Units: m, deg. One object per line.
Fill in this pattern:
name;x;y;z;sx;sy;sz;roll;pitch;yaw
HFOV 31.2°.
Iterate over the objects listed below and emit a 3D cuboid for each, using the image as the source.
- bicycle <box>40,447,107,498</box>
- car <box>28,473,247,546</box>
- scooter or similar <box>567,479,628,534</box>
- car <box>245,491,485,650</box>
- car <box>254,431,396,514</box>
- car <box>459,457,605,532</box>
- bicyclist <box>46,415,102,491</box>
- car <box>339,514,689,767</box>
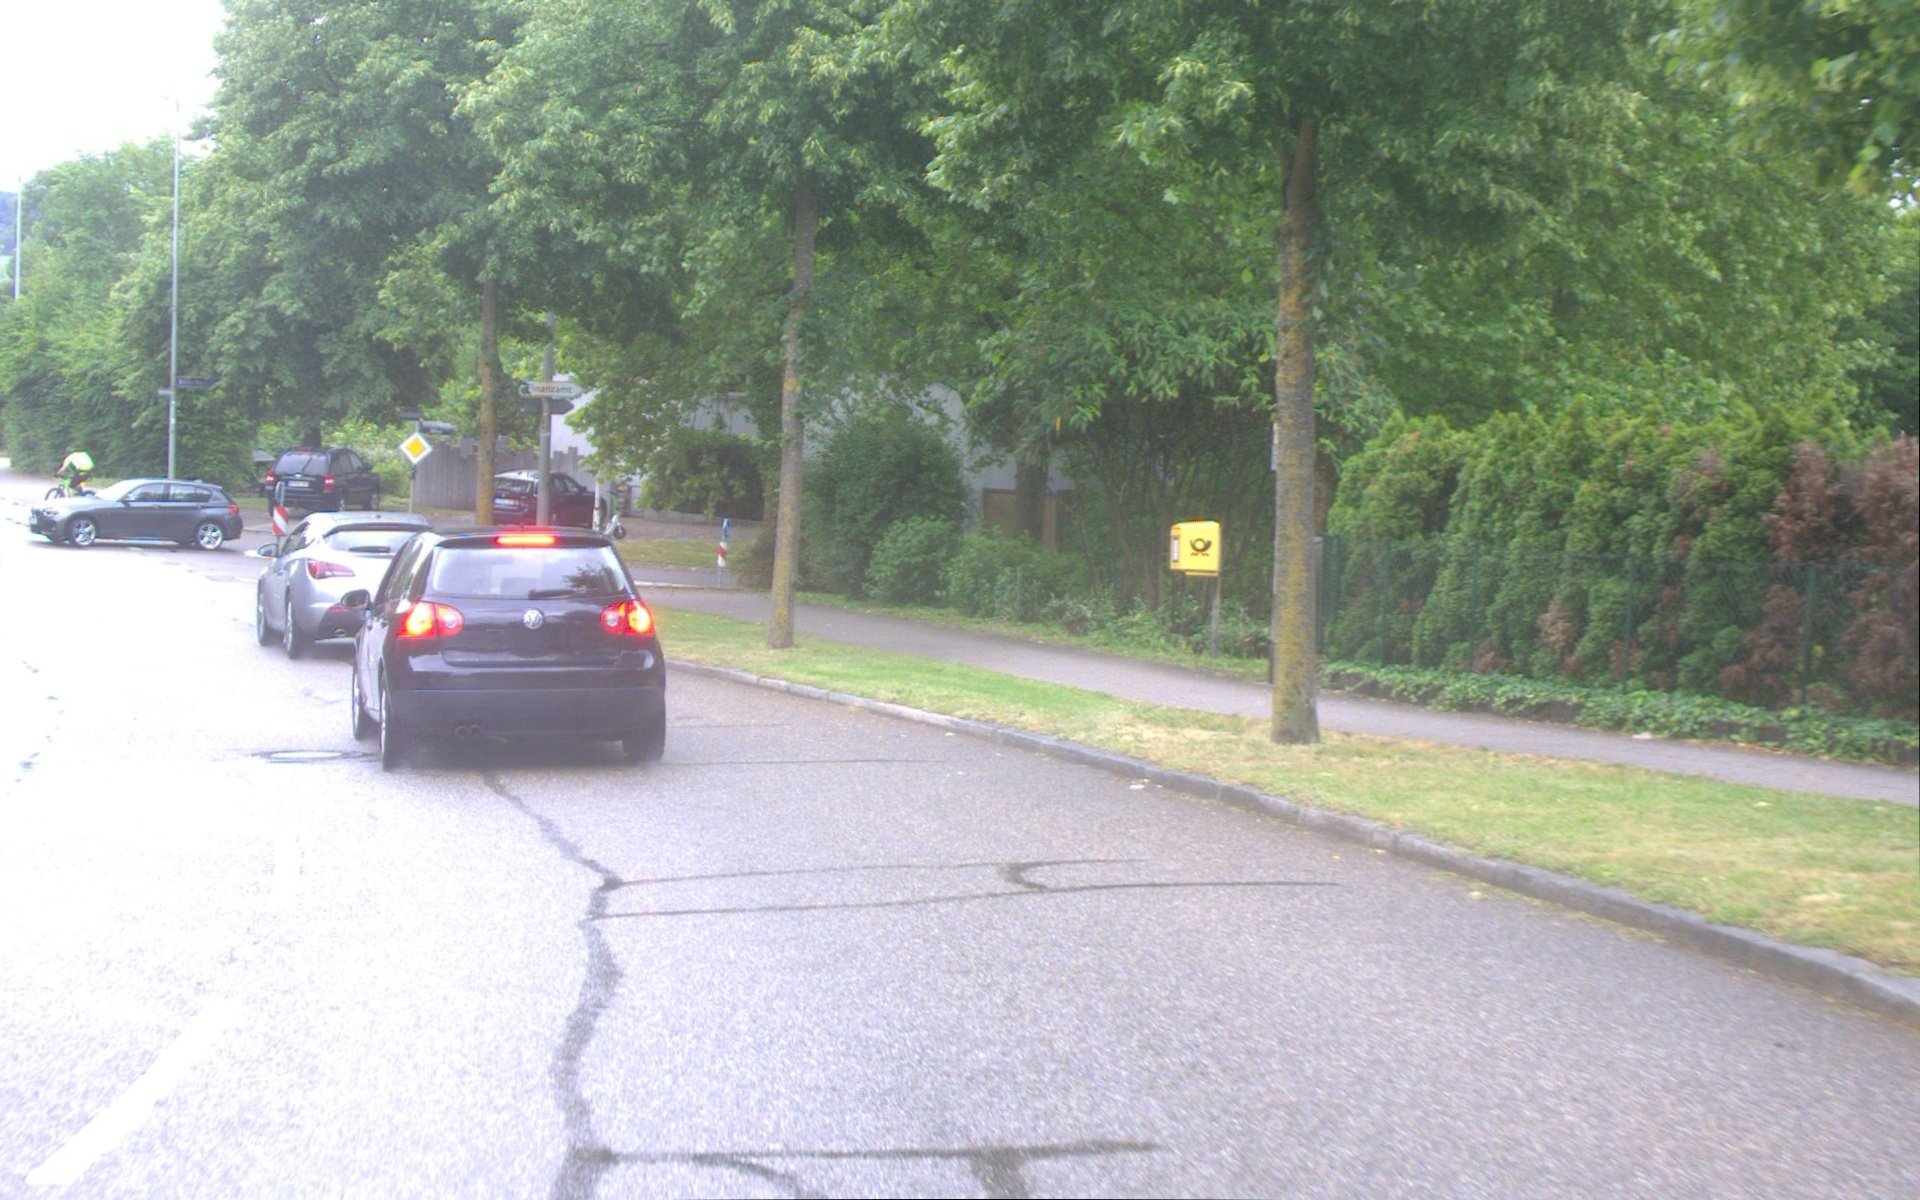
bicycle;-20.652;-2.969;80.087;0.852;1.151;2.038;0;2;-35
car;-17.010;-1.872;71.127;4.125;1.379;1.727;1;1;-25
scooter or similar;-8.605;-2.224;81.584;1.335;1.281;0.562;-1;3;-26
car;-6.179;-0.338;35.371;1.754;1.459;4.002;0;3;-20
car;-15.542;-3.159;84.360;1.948;1.683;4.903;4;5;7
car;-10.332;-2.588;83.328;1.752;1.464;4.563;5;6;17
bicyclist;-20.640;-3.425;80.078;0.852;1.749;1.286;0;2;-35
car;-2.969;0.197;22.201;1.721;1.459;4.001;1;1;-15
